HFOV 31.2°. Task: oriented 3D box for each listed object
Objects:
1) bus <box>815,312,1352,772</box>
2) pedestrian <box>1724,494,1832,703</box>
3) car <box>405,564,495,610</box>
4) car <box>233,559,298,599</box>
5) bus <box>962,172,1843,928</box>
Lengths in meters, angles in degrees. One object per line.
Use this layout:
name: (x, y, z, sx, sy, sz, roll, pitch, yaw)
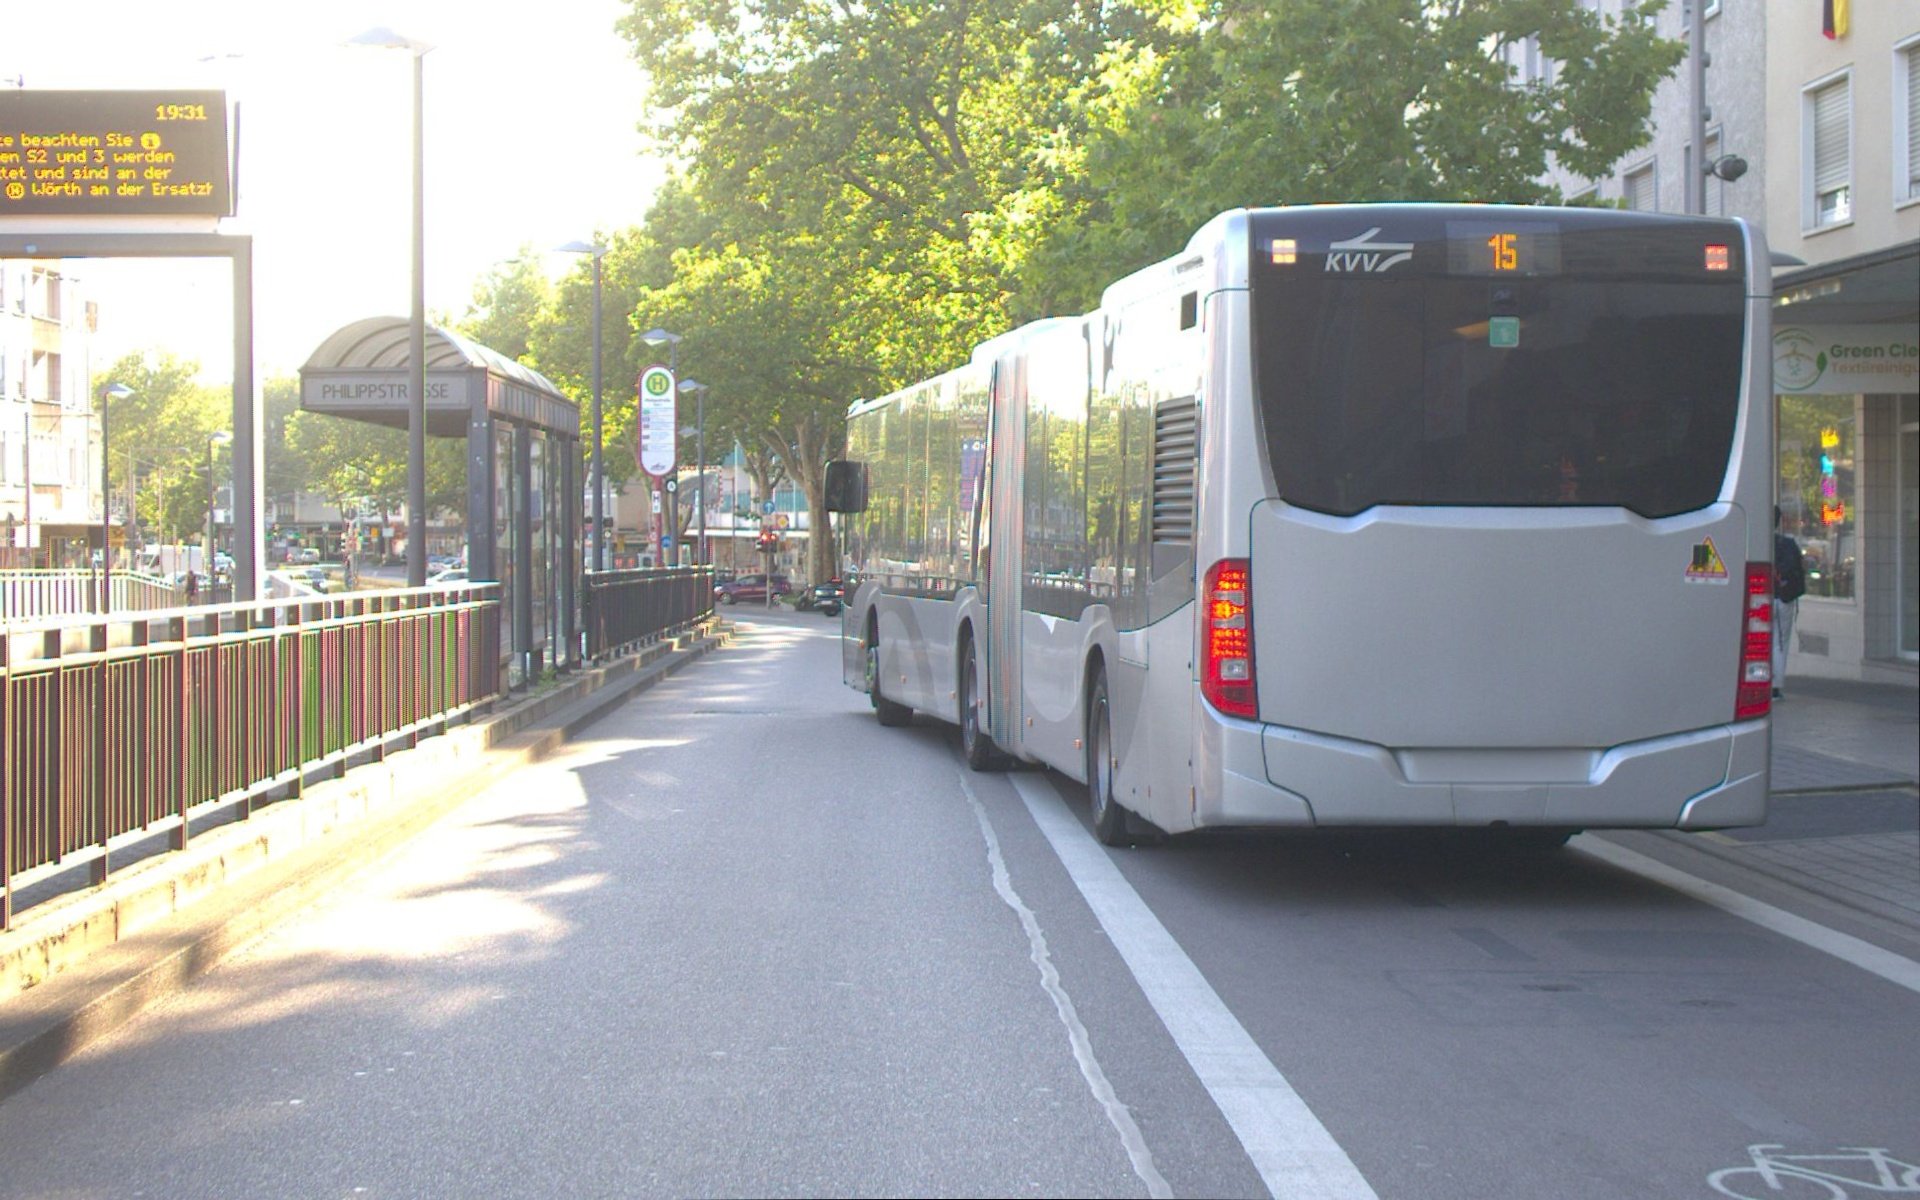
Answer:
bus: (0.673, -0.487, 27.934, 2.696, 3.107, 9.072, 0, 1, -9)
pedestrian: (7.150, -0.021, 30.075, 0.723, 1.789, 0.766, -1, 1, -1)
car: (-23.161, -0.611, 156.348, 3.986, 2.007, 1.963, -1, 1, -7)
car: (-29.485, -0.905, 146.045, 1.993, 1.645, 4.000, -1, 1, -1)
bus: (1.859, -0.303, 18.946, 2.696, 3.107, 9.384, 0, 1, -6)
